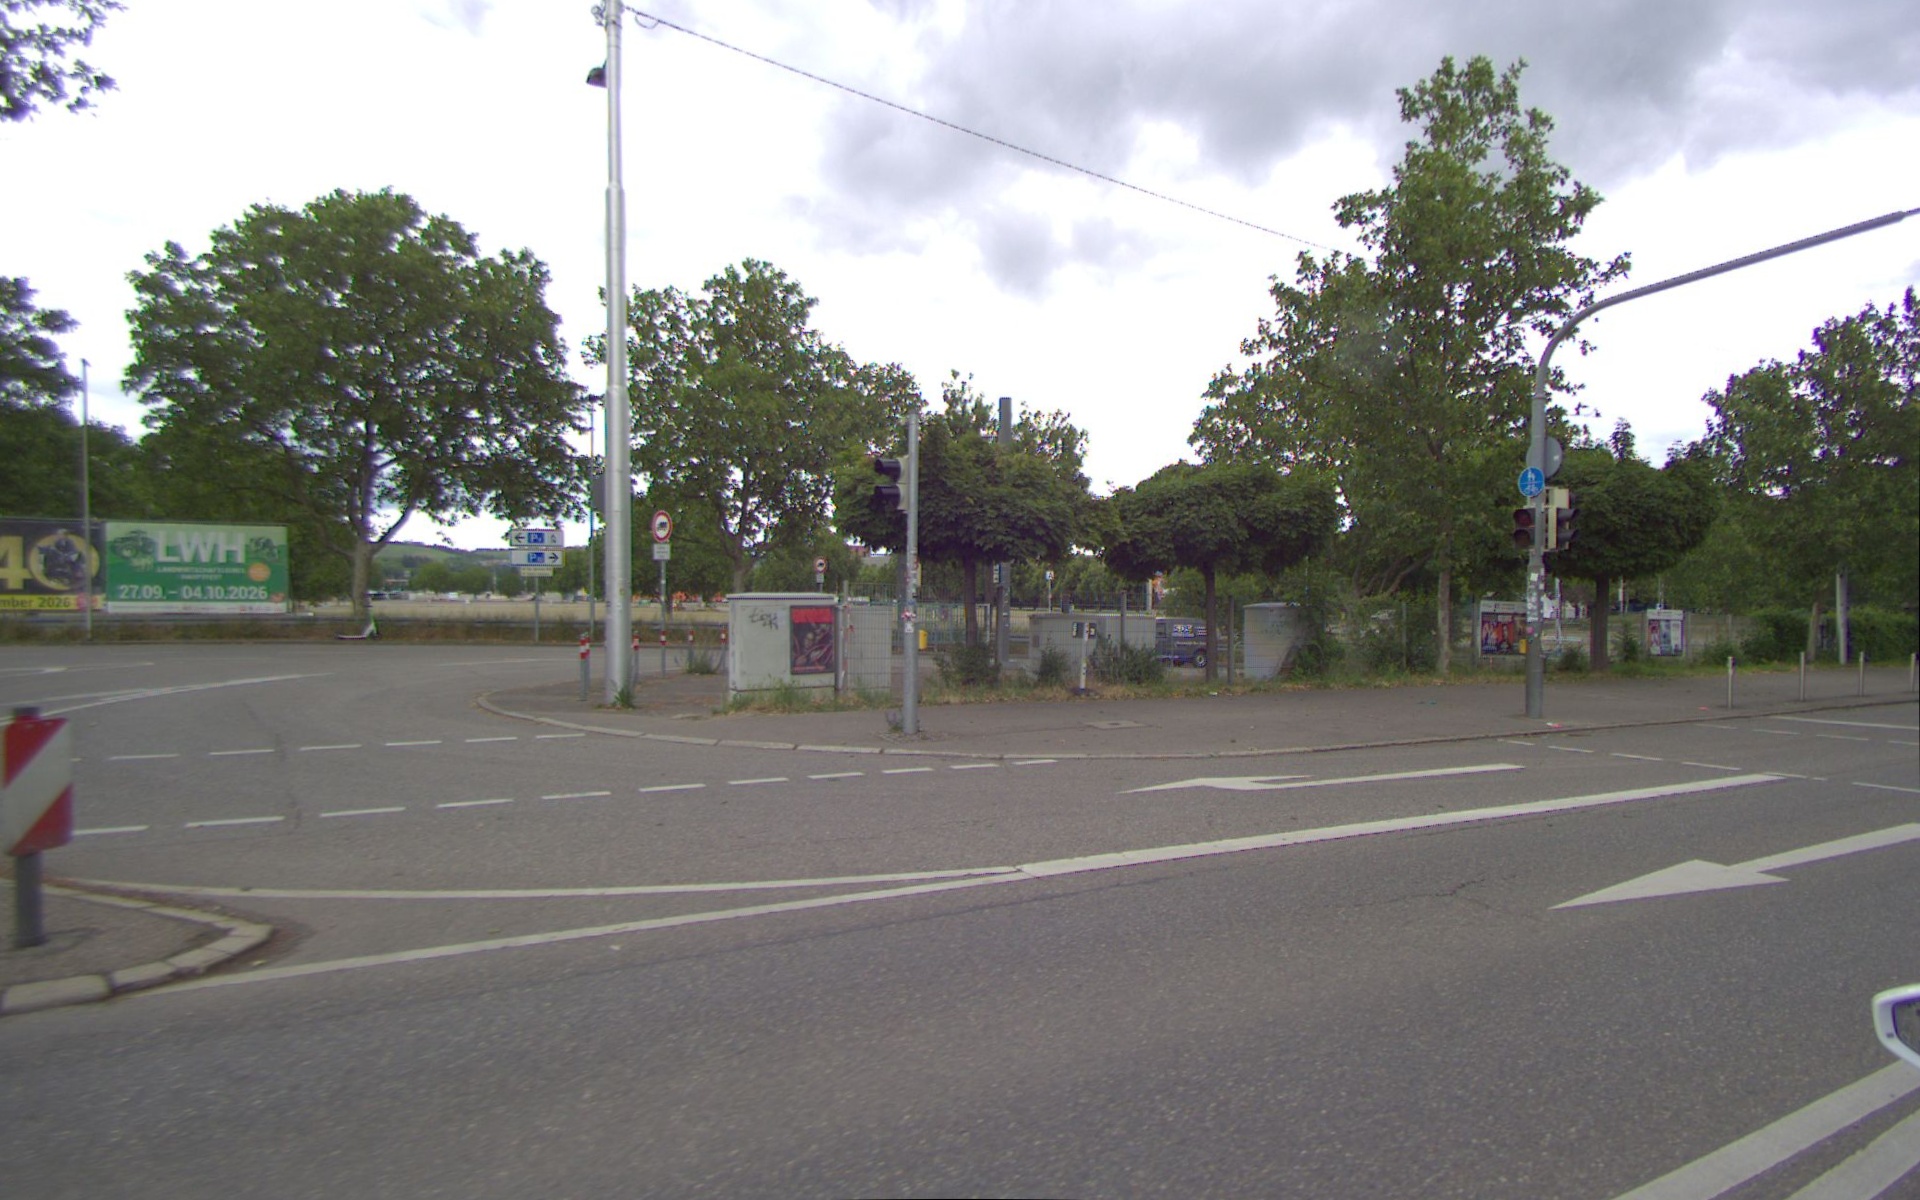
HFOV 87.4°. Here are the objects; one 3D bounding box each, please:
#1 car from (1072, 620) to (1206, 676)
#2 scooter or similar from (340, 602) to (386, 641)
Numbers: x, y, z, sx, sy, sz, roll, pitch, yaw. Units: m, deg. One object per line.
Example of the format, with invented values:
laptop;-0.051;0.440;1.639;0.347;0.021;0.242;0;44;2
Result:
car;6.633;1.785;37.354;4.518;1.860;1.880;2;1;-17
scooter or similar;-19.498;0.696;32.806;1.201;1.237;0.414;1;1;-19
